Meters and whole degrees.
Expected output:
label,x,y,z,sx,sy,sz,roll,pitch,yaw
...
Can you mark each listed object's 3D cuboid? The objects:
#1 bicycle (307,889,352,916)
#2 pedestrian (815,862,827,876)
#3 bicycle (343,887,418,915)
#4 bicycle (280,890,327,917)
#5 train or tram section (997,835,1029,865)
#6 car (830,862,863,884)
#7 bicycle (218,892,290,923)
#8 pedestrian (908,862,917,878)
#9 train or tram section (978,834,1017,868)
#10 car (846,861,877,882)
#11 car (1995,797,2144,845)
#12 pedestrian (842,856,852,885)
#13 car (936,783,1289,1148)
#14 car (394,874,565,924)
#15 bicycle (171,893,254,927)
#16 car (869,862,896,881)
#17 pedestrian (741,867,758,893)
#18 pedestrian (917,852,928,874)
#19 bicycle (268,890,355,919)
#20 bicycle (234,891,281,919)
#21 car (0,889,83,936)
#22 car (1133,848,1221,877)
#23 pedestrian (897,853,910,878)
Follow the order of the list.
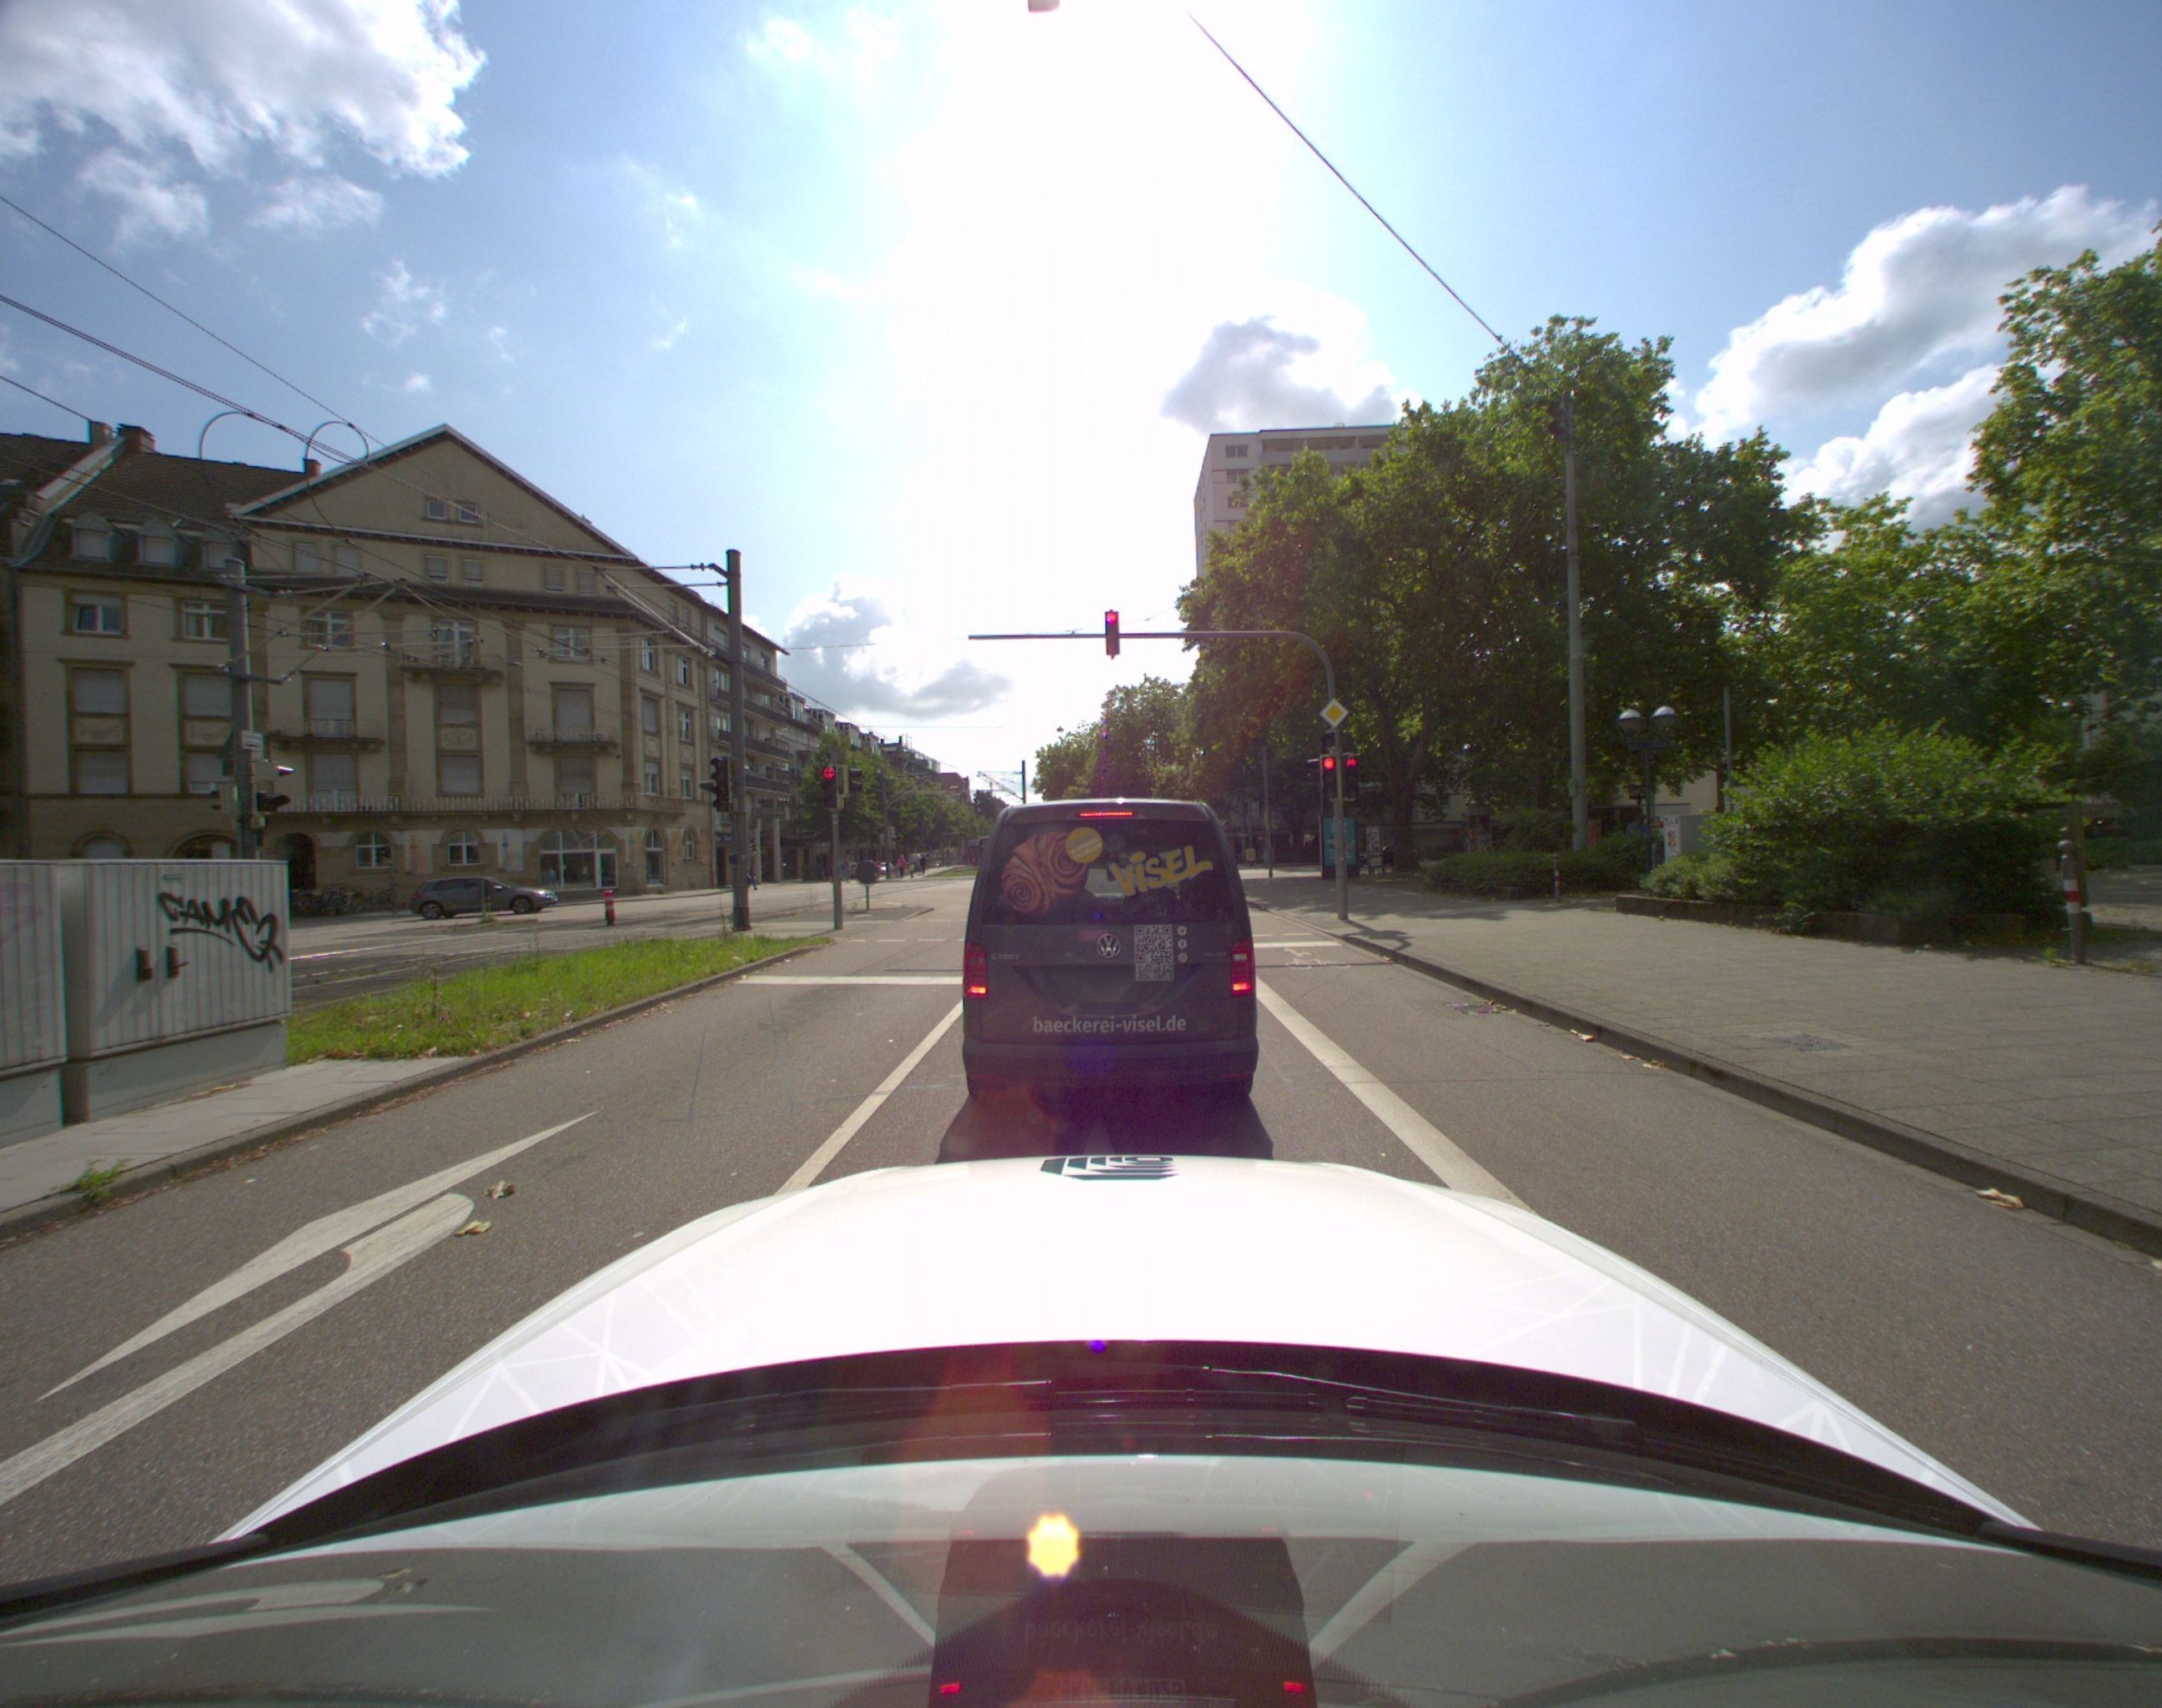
label,x,y,z,sx,sy,sz,roll,pitch,yaw
bicycle,-33.703,2.170,36.548,0.808,1.053,2.543,-2,0,-27
pedestrian,-23.200,1.336,72.624,0.751,1.211,0.704,-2,0,2
bicycle,-31.993,2.128,37.279,0.797,1.053,2.576,-2,0,14
bicycle,-34.471,2.186,36.153,0.808,1.053,2.543,-2,0,-27
train or tram section,-8.342,-0.525,101.555,2.232,3.331,14.021,-2,0,2
car,-23.657,1.931,82.395,1.986,2.013,4.002,-2,0,2
bicycle,-34.062,2.177,33.586,1.985,1.114,0.482,-3,0,-35
pedestrian,-12.173,1.149,58.841,0.462,1.144,0.435,-2,0,2
train or tram section,-8.871,-0.325,88.126,2.232,3.331,12.978,-2,0,2
car,-23.427,1.824,87.081,1.986,2.013,4.002,-2,0,2
car,46.892,-1.558,38.730,4.396,2.013,2.079,-2,0,3
pedestrian,-16.267,1.159,56.565,0.476,2.013,0.419,-2,0,-4
car,0.220,0.551,5.813,1.743,1.808,3.476,-1,0,2
car,-21.335,1.553,29.132,4.574,1.436,1.694,-2,0,-22
bicycle,-36.440,2.355,34.167,3.283,1.253,1.003,-2,0,18
car,-23.316,2.011,95.591,1.986,2.013,4.002,-2,0,2
pedestrian,-20.962,1.614,51.521,0.865,1.596,0.687,-2,0,-32
pedestrian,-12.537,0.715,64.532,0.656,1.685,0.656,-2,0,2
bicycle,-33.002,2.157,34.980,2.571,1.053,0.676,-3,0,-26
bicycle,-36.158,2.220,35.801,0.744,1.053,2.343,-2,0,-27
car,-41.520,2.282,32.123,3.950,1.639,1.813,-2,0,26
car,5.249,0.441,44.450,4.499,1.390,1.694,-2,0,-22
pedestrian,-12.847,0.805,58.901,0.656,1.784,0.661,-2,0,2
